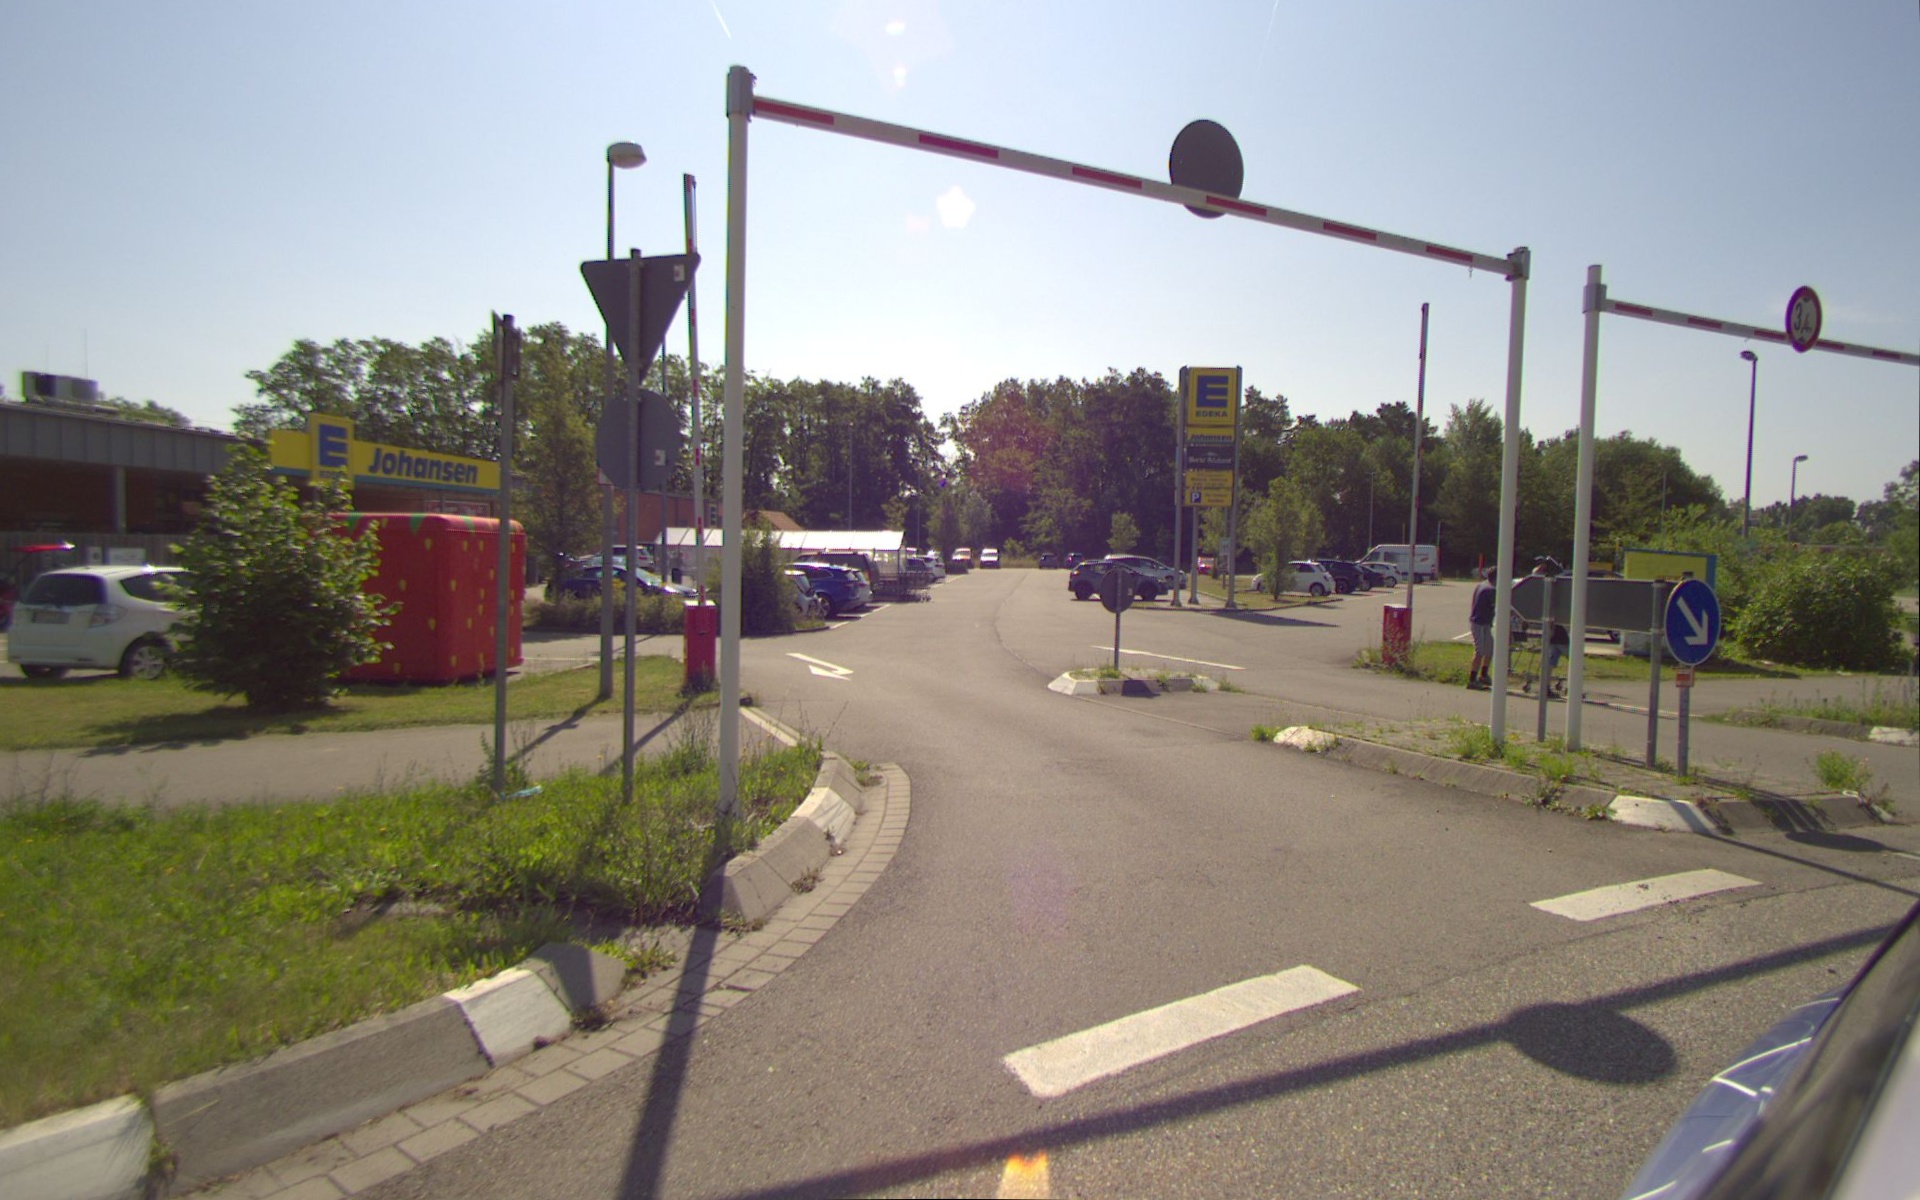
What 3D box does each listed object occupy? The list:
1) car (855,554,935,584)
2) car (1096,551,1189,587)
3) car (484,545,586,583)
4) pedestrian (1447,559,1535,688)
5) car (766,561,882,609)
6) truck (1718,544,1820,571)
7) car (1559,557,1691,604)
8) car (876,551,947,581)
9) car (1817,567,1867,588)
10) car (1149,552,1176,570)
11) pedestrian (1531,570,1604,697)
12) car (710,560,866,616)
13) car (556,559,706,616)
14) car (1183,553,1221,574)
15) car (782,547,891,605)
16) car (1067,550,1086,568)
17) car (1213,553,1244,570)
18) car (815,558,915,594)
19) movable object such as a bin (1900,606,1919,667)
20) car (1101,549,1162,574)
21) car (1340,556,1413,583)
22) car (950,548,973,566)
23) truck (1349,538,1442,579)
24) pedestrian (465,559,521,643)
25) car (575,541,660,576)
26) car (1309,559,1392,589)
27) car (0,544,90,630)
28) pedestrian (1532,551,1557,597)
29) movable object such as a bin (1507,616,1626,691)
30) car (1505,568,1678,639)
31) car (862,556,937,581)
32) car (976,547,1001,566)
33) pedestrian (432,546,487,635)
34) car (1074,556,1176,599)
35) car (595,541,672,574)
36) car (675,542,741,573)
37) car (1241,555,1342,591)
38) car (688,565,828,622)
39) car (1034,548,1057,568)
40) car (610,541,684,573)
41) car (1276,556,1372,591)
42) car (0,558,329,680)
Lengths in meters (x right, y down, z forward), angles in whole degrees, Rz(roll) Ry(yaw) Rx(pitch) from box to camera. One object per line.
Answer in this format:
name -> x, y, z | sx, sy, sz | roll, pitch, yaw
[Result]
car -> -3.355, -1.628, 52.616 | 3.928, 1.504, 1.967 | 1, 2, 4
car -> 9.279, -1.608, 51.688 | 4.480, 1.723, 1.998 | -1, 2, 6
car -> -19.704, -1.676, 47.013 | 3.925, 1.704, 2.000 | 1, 2, 1
pedestrian -> 7.731, 0.313, 14.764 | 0.828, 1.807, 0.879 | 1, 2, 7
car -> -4.480, -0.522, 33.472 | 3.439, 1.516, 1.710 | 1, 2, 13
truck -> 111.107, -5.826, 139.239 | 10.254, 3.435, 3.845 | 3, 3, 30
car -> 25.482, -0.783, 38.957 | 4.100, 1.647, 1.733 | 3, 3, 31
car -> -2.882, -2.046, 60.574 | 3.937, 1.682, 1.994 | 1, 2, 11
car -> 63.778, -1.669, 73.272 | 1.823, 1.404, 4.379 | 3, 3, 29
car -> 18.525, -3.592, 92.675 | 2.035, 1.504, 3.996 | 1, 3, 6
pedestrian -> 8.261, 0.429, 13.789 | 0.587, 1.668, 0.702 | 1, 2, 11
car -> -5.148, -0.402, 30.522 | 4.356, 1.590, 1.712 | 1, 2, 10
car -> -9.972, -0.419, 30.850 | 3.932, 1.642, 1.910 | 1, 2, 7
car -> 18.748, -2.867, 78.606 | 1.963, 1.483, 4.495 | 1, 3, 1
car -> -4.365, -0.888, 35.963 | 3.439, 1.952, 1.872 | 1, 2, 13
car -> 10.711, -3.777, 93.016 | 1.633, 1.504, 4.369 | 1, 3, 6
car -> 24.314, -3.523, 91.680 | 2.035, 1.504, 3.996 | 1, 3, 6
car -> -3.990, -1.036, 42.978 | 3.930, 1.437, 1.980 | 1, 2, 6
movable object such as a bin -> 19.159, 0.712, 19.700 | 1.426, 1.134, 0.872 | -1, 2, -30
car -> 11.458, -2.596, 67.725 | 3.936, 1.604, 1.966 | 1, 3, 10
car -> 24.751, -1.844, 60.250 | 3.929, 1.470, 1.891 | 2, 3, 22
car -> 0.177, -3.965, 93.246 | 1.764, 1.615, 4.258 | 1, 3, 4
truck -> 29.893, -2.847, 69.476 | 5.574, 2.637, 2.179 | 3, 3, 31
pedestrian -> -9.478, -0.003, 20.529 | 0.801, 1.639, 0.925 | -1, 2, -42
car -> -18.690, -2.278, 55.319 | 3.925, 1.838, 2.000 | 1, 2, 1
car -> 20.594, -1.412, 53.393 | 3.959, 1.444, 1.735 | 2, 3, 25
car -> -18.944, -0.285, 20.430 | 1.111, 1.655, 1.827 | 1, 2, 6
pedestrian -> 23.285, -1.041, 40.325 | 0.815, 1.819, 0.857 | 2, 3, 31
movable object such as a bin -> 8.725, 0.756, 14.610 | 1.184, 0.966, 0.878 | 1, 2, 9
car -> 16.362, 0.025, 26.286 | 3.590, 1.580, 1.788 | 4, 4, 40
car -> -3.457, -1.837, 58.289 | 3.937, 1.370, 1.995 | 1, 3, 11
car -> 2.658, -4.032, 93.371 | 2.035, 1.732, 3.996 | 1, 3, 6
pedestrian -> -10.925, -0.218, 22.108 | 0.769, 1.894, 0.830 | 2, 2, 36
car -> 6.577, -0.924, 40.616 | 3.935, 1.608, 1.658 | 1, 2, 10
car -> -19.261, -2.542, 59.855 | 3.925, 1.838, 2.000 | 1, 2, 2
car -> -17.237, -2.951, 69.314 | 3.931, 2.038, 1.998 | 1, 3, 7
car -> 14.584, -1.231, 44.623 | 3.970, 1.459, 1.632 | 3, 3, 32
car -> -5.598, -0.219, 28.183 | 3.439, 1.475, 1.710 | 1, 2, 13
car -> 7.925, -3.882, 93.165 | 2.035, 1.732, 3.996 | 1, 3, 6
car -> -19.292, -2.662, 62.498 | 3.925, 1.838, 2.000 | 1, 2, 2
car -> 17.633, -1.316, 49.042 | 4.131, 1.593, 1.980 | 2, 3, 30
car -> -11.141, 0.175, 14.384 | 1.697, 1.464, 3.764 | 1, 2, 8
